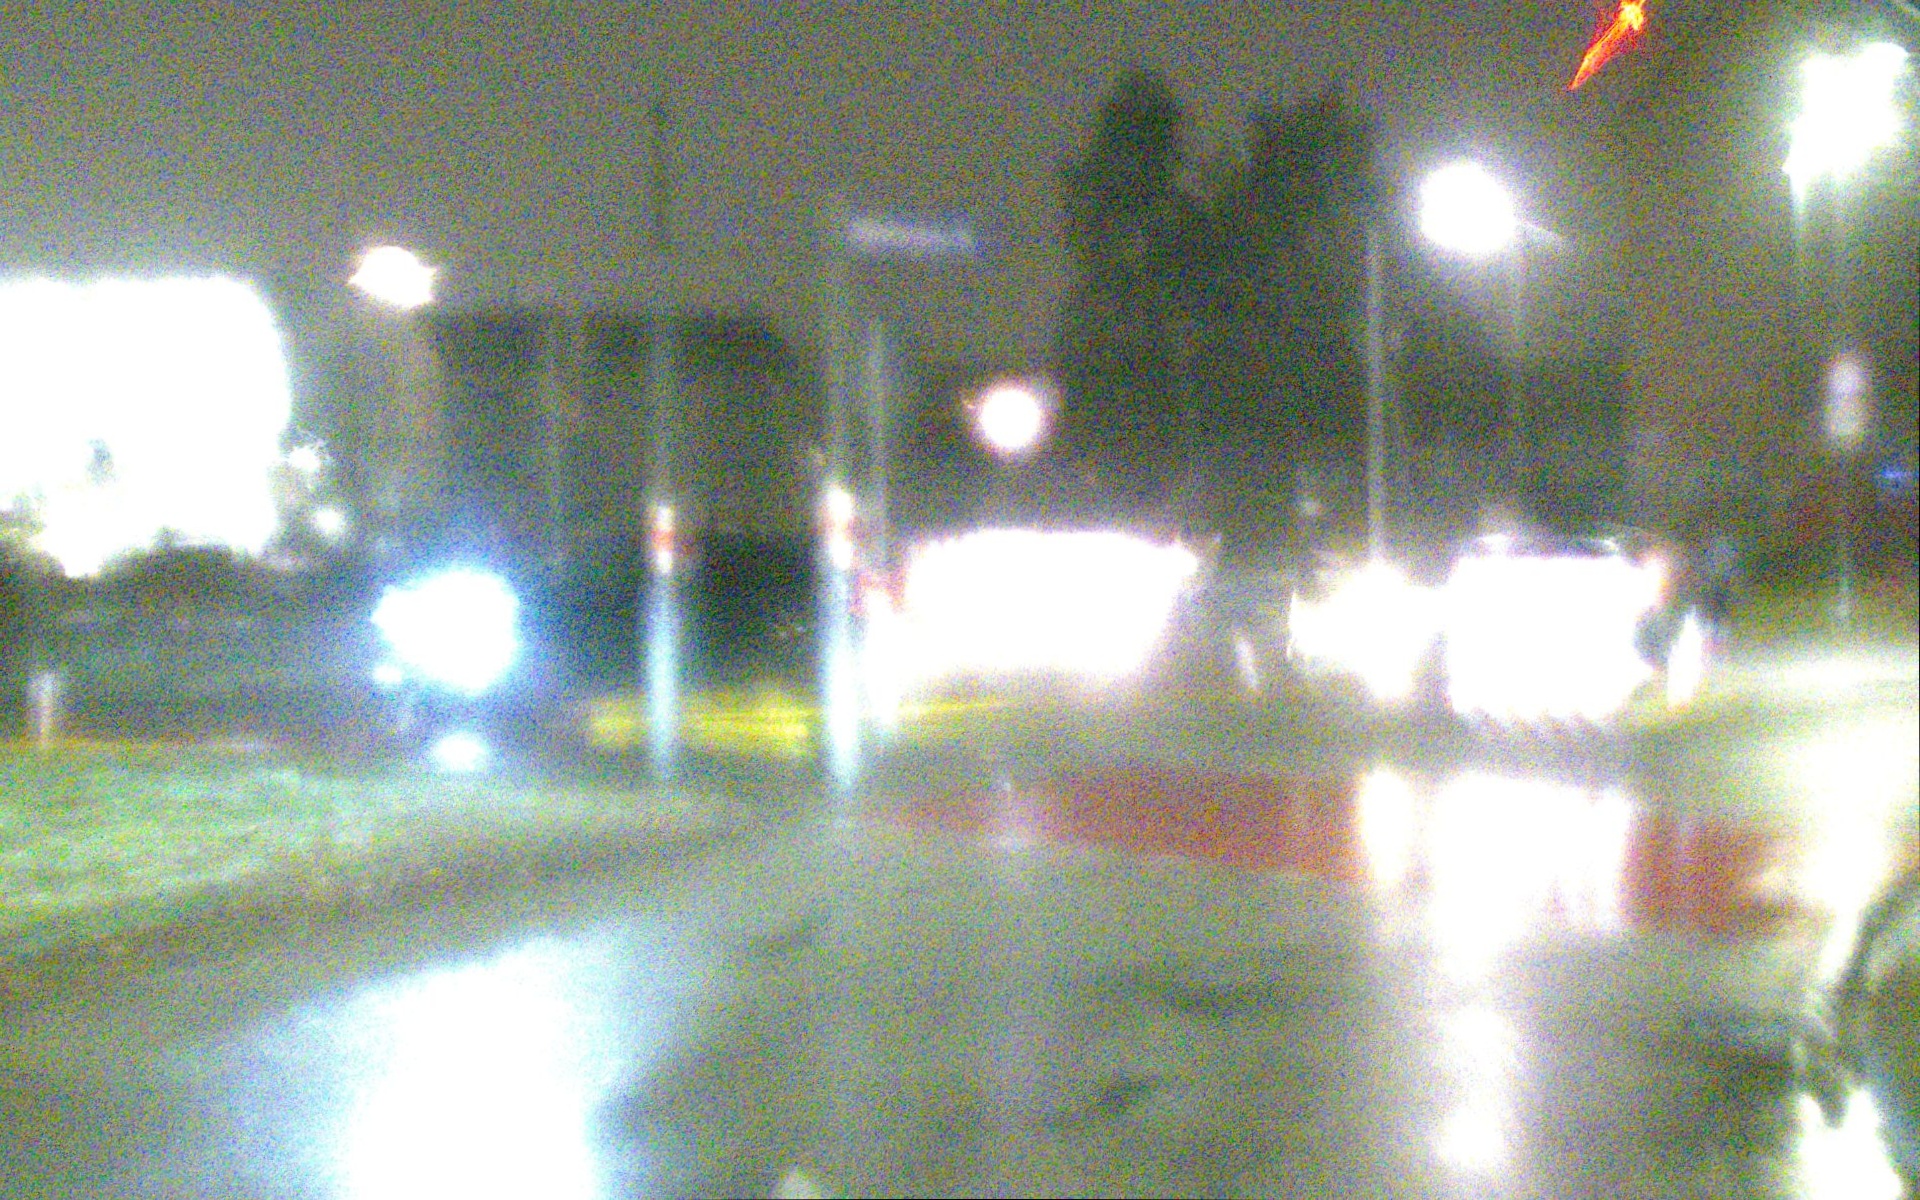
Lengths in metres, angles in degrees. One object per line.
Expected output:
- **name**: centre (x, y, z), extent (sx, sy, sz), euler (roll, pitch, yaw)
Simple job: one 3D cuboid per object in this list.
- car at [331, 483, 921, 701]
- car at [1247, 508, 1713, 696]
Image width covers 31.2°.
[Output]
- **car**: centre (-2.841, -0.118, 29.358), extent (4.604, 1.730, 2.000), euler (-1, 2, -27)
- **car**: centre (5.226, -0.034, 34.425), extent (4.379, 1.752, 1.878), euler (-1, 2, -30)
